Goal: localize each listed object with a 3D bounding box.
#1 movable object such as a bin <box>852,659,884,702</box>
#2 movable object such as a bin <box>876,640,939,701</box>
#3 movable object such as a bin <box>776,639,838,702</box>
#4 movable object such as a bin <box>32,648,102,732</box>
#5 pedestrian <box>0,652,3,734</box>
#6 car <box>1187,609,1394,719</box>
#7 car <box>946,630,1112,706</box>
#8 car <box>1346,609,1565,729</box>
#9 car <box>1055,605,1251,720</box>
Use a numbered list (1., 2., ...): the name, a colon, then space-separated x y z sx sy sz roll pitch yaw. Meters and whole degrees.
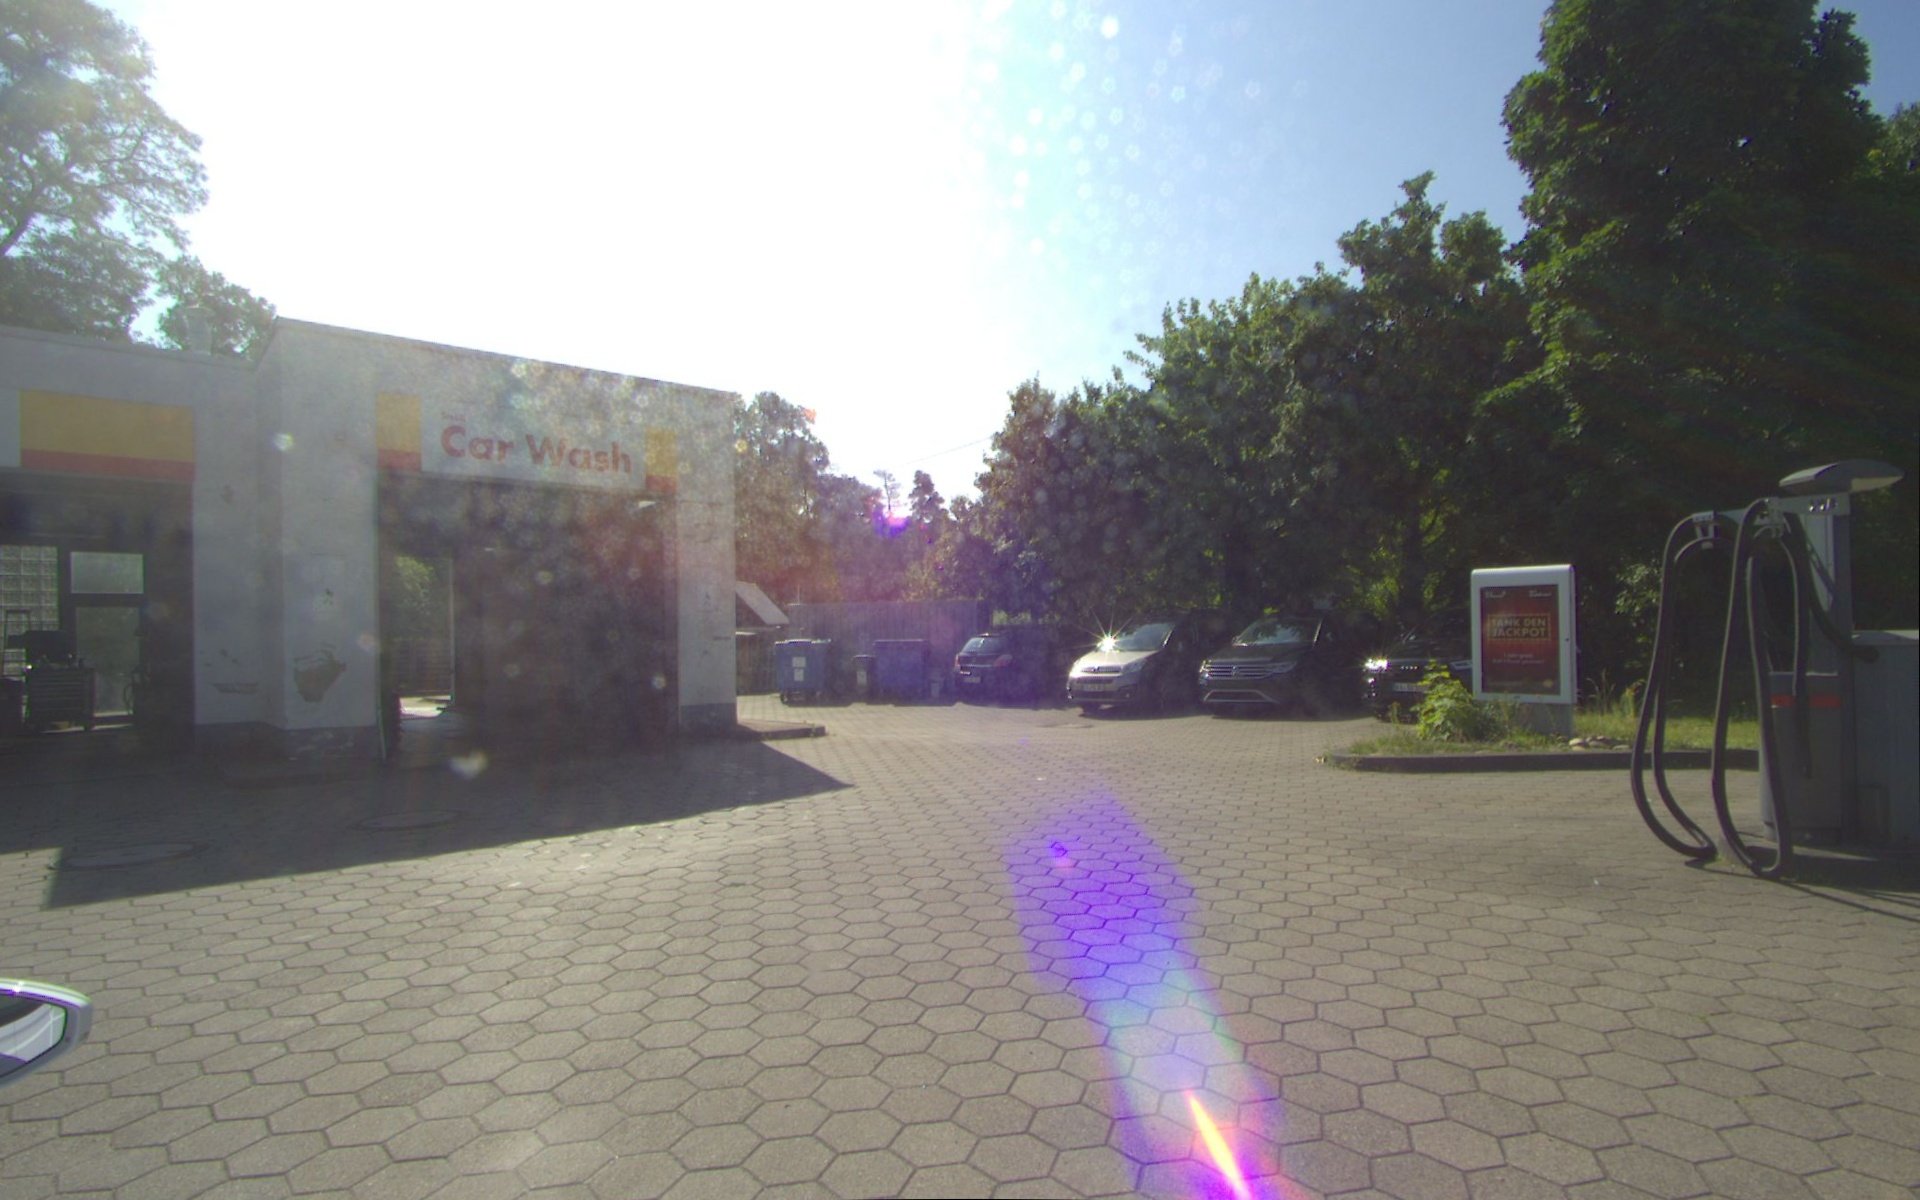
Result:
1. movable object such as a bin: -2.040 1.776 22.231 0.484 0.921 0.866 -1 -2 9
2. movable object such as a bin: -1.143 1.551 22.076 1.212 1.306 0.866 -1 -2 11
3. movable object such as a bin: -3.394 1.552 22.246 1.211 1.342 0.850 -1 -1 2
4. movable object such as a bin: -14.063 1.409 15.786 0.790 1.251 0.540 0 -3 -40
5. pedestrian: -14.760 1.401 14.799 0.857 1.212 0.737 0 -3 -43
6. car: 5.660 1.024 16.932 3.901 1.649 1.668 1 -3 -44
7. car: 1.544 1.409 21.791 3.472 1.457 1.669 0 0 -41
8. car: 7.406 0.946 14.807 3.901 1.530 1.668 1 -3 -44
9. car: 3.734 1.111 18.977 3.899 1.816 1.668 -3 0 -44
